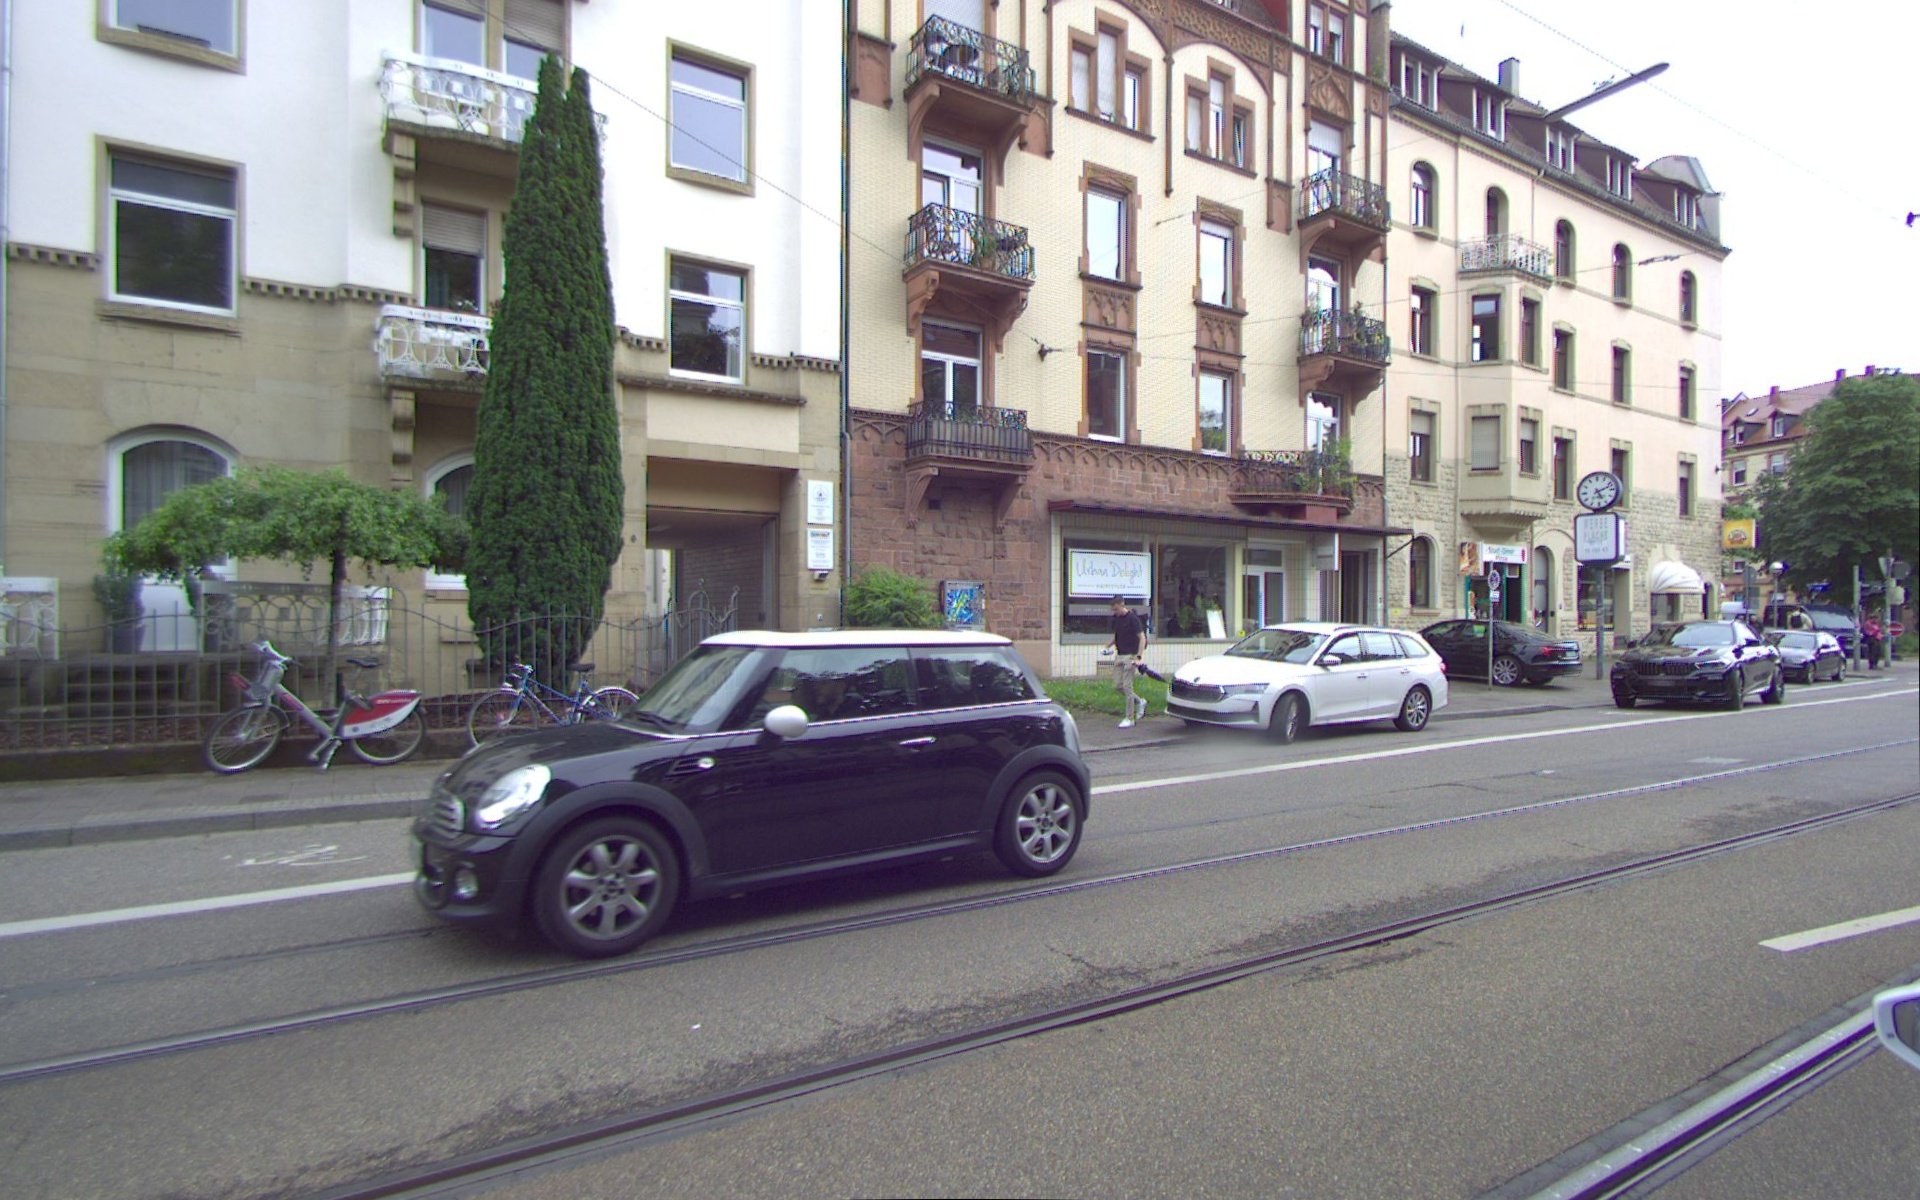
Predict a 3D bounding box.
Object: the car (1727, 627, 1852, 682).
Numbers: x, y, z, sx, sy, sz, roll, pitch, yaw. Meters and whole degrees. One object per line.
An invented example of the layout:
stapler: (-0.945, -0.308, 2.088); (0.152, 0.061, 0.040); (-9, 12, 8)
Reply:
car: (23.663, 1.510, 28.602); (4.087, 1.380, 1.638); (1, 2, -34)

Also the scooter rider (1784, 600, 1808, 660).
scooter rider: (28.933, 1.037, 34.769); (0.634, 2.040, 0.754); (0, -1, 41)

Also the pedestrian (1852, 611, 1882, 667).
pedestrian: (30.610, 1.301, 33.909); (0.603, 1.867, 0.619); (1, -1, -34)

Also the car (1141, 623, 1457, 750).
car: (4.804, 1.077, 13.988); (4.559, 1.504, 1.737); (1, -1, -33)

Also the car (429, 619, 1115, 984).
car: (-0.943, 0.842, 5.637); (3.451, 1.441, 1.598); (1, -2, -35)

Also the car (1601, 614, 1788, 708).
car: (14.608, 1.166, 19.872); (4.848, 1.632, 1.867); (1, -4, -41)

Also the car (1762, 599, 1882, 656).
car: (39.535, 1.241, 46.282); (2.142, 2.449, 5.382); (0, -1, 16)

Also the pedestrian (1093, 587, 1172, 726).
pedestrian: (2.409, 0.777, 14.051); (0.872, 1.868, 0.664); (1, -1, -33)

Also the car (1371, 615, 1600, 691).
car: (12.274, 1.170, 23.734); (1.862, 1.389, 4.395); (1, 2, -35)

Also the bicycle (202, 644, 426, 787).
bicycle: (-5.629, 0.965, 8.823); (1.613, 1.116, 0.381); (1, -1, -43)

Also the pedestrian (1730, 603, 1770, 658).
pedestrian: (30.140, 1.152, 38.315); (0.826, 2.040, 0.969); (1, -1, -31)

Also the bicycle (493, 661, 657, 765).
bicycle: (-3.855, 1.112, 10.114); (1.498, 0.950, 0.330); (1, -1, -32)

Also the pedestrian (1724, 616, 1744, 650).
pedestrian: (39.915, 1.687, 51.805); (0.686, 1.738, 0.552); (0, -1, 19)

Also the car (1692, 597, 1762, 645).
car: (43.030, 1.175, 56.472); (2.145, 2.561, 5.374); (0, -1, 26)
